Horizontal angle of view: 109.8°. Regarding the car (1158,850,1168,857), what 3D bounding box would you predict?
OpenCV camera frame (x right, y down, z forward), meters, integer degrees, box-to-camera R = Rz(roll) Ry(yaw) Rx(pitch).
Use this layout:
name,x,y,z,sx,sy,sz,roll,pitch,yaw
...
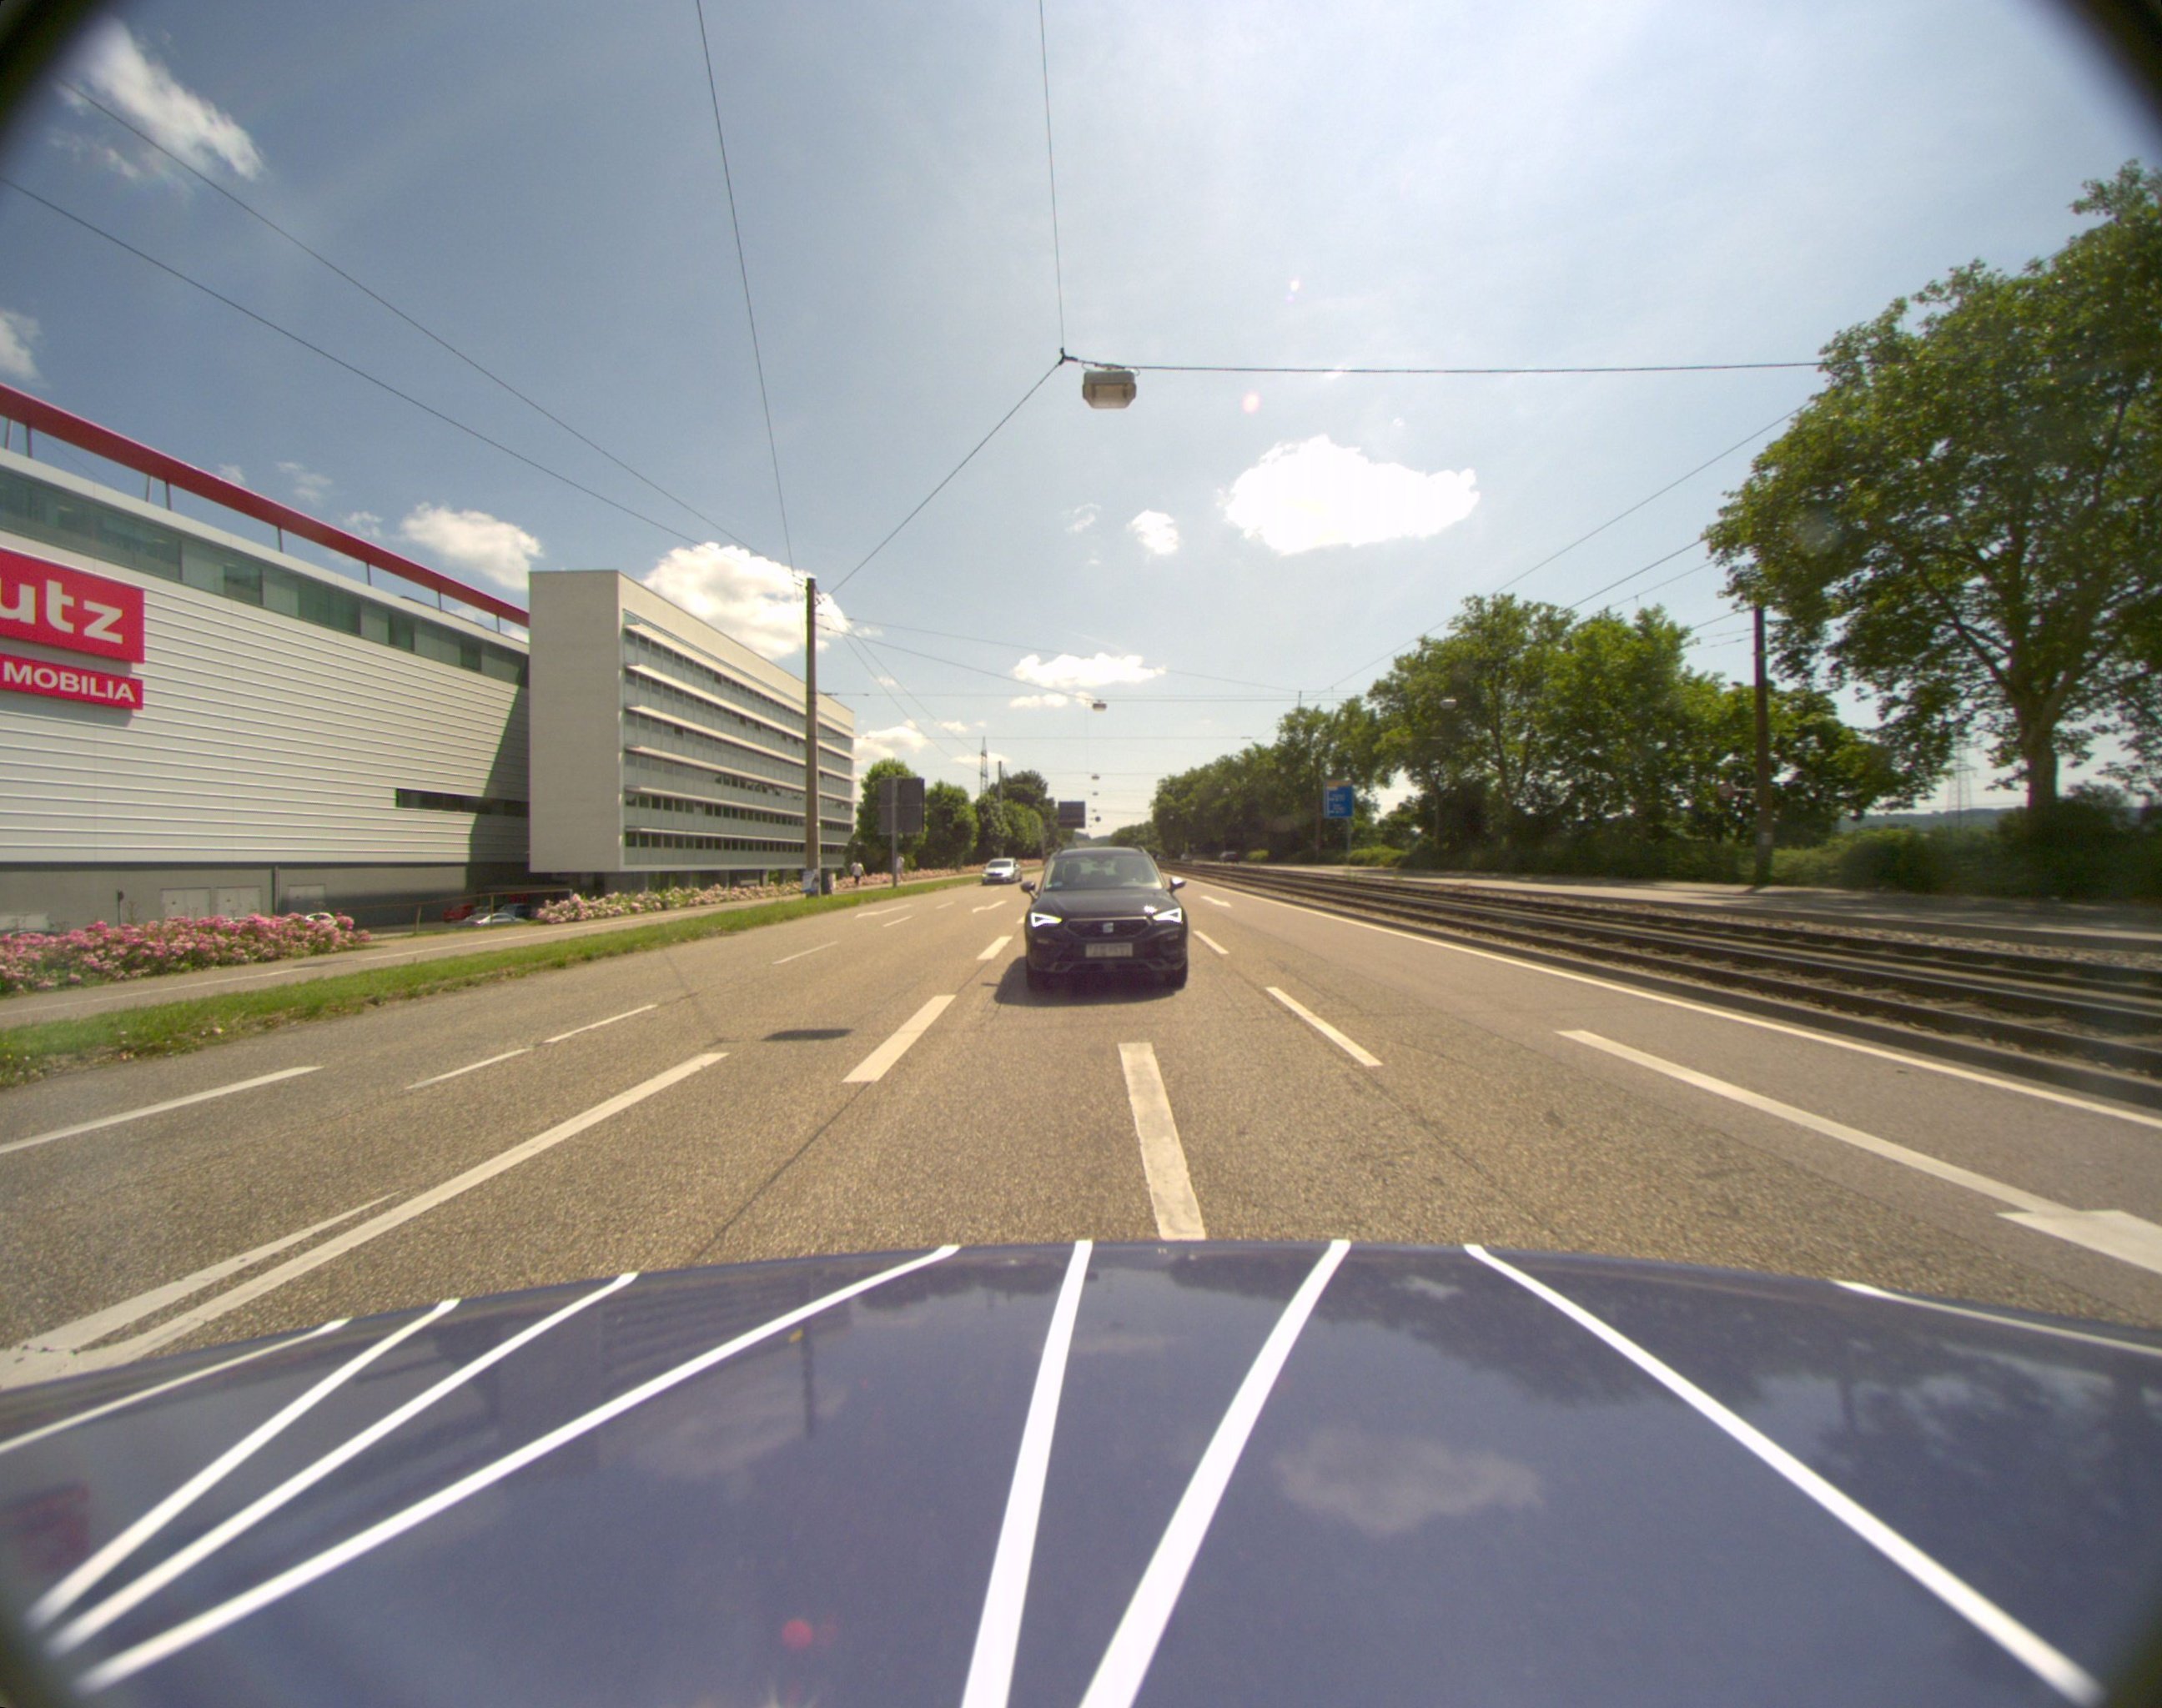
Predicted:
name,x,y,z,sx,sy,sz,roll,pitch,yaw
car,18.495,-0.110,171.646,1.690,1.574,4.058,1,0,-1

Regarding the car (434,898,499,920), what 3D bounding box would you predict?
name,x,y,z,sx,sy,sz,roll,pitch,yaw
car,-50.840,4.504,62.983,1.998,1.439,3.999,-2,1,0

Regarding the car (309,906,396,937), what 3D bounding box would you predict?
name,x,y,z,sx,sy,sz,roll,pitch,yaw
car,-49.901,4.596,52.164,1.998,1.603,3.999,-2,1,0

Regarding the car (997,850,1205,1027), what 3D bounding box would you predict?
name,x,y,z,sx,sy,sz,roll,pitch,yaw
car,0.209,0.778,9.327,1.898,1.564,4.511,-2,1,0

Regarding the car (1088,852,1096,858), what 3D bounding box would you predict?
name,x,y,z,sx,sy,sz,roll,pitch,yaw
car,2.795,0.222,198.804,1.998,1.641,4.000,-2,1,1

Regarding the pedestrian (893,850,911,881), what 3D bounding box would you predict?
name,x,y,z,sx,sy,sz,roll,pitch,yaw
pedestrian,-10.920,0.681,46.321,0.758,1.838,0.931,-2,1,3

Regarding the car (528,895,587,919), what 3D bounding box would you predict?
name,x,y,z,sx,sy,sz,roll,pitch,yaw
car,-43.270,4.324,62.891,1.998,1.603,3.999,-2,1,0

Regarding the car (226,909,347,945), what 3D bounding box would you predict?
name,x,y,z,sx,sy,sz,roll,pitch,yaw
car,-48.996,4.458,47.043,1.998,1.603,5.146,-2,1,0

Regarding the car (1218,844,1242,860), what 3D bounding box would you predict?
name,x,y,z,sx,sy,sz,roll,pitch,yaw
car,18.304,-0.262,93.558,1.999,1.907,4.410,-2,1,0

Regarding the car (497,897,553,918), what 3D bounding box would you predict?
name,x,y,z,sx,sy,sz,roll,pitch,yaw
car,-45.829,4.409,62.754,1.609,1.314,3.999,-2,1,0

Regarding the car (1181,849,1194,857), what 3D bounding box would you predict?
name,x,y,z,sx,sy,sz,roll,pitch,yaw
car,18.604,-0.133,132.248,1.826,1.407,3.884,1,0,2

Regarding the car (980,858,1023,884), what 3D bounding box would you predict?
name,x,y,z,sx,sy,sz,roll,pitch,yaw
car,-4.492,0.927,43.437,1.896,1.331,4.000,-2,0,1

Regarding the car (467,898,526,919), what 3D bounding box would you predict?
name,x,y,z,sx,sy,sz,roll,pitch,yaw
car,-48.183,4.457,62.736,1.648,1.377,3.999,-2,1,0

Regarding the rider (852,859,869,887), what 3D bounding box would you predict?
name,x,y,z,sx,sy,sz,roll,pitch,yaw
rider,-11.403,0.982,39.330,0.671,1.449,0.618,-2,1,0

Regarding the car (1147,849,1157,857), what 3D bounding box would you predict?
name,x,y,z,sx,sy,sz,roll,pitch,yaw
car,17.693,-0.276,188.744,1.999,1.820,4.968,1,0,-1

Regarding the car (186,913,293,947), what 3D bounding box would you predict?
name,x,y,z,sx,sy,sz,roll,pitch,yaw
car,-51.467,4.612,46.613,1.998,1.603,3.999,-2,1,0
